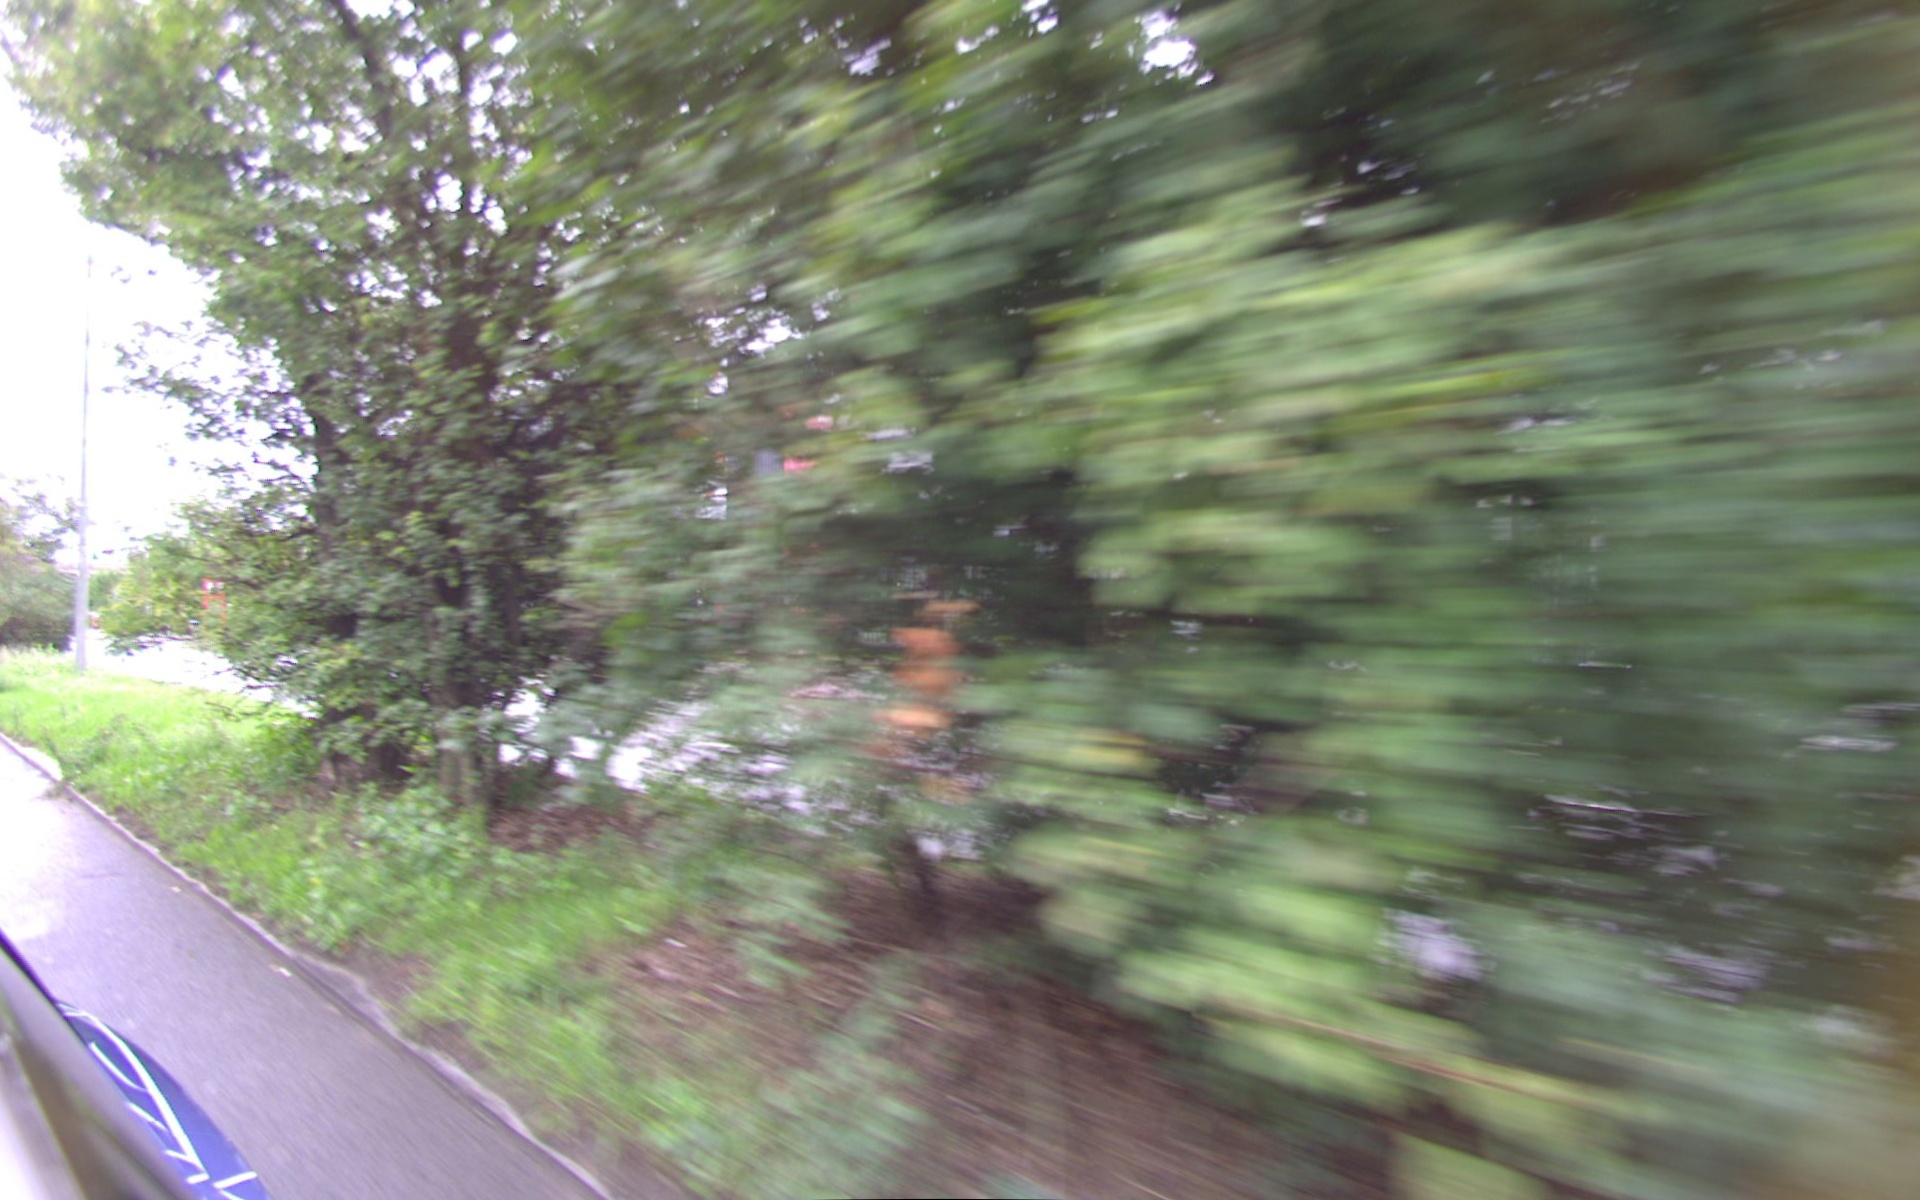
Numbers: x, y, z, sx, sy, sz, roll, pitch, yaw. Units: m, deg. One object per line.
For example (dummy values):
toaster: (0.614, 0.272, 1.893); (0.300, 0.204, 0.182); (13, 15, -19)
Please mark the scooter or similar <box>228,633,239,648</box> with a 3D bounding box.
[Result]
scooter or similar: (-49.374, 2.742, 68.784); (1.219, 1.012, 0.301); (-1, -1, 39)
